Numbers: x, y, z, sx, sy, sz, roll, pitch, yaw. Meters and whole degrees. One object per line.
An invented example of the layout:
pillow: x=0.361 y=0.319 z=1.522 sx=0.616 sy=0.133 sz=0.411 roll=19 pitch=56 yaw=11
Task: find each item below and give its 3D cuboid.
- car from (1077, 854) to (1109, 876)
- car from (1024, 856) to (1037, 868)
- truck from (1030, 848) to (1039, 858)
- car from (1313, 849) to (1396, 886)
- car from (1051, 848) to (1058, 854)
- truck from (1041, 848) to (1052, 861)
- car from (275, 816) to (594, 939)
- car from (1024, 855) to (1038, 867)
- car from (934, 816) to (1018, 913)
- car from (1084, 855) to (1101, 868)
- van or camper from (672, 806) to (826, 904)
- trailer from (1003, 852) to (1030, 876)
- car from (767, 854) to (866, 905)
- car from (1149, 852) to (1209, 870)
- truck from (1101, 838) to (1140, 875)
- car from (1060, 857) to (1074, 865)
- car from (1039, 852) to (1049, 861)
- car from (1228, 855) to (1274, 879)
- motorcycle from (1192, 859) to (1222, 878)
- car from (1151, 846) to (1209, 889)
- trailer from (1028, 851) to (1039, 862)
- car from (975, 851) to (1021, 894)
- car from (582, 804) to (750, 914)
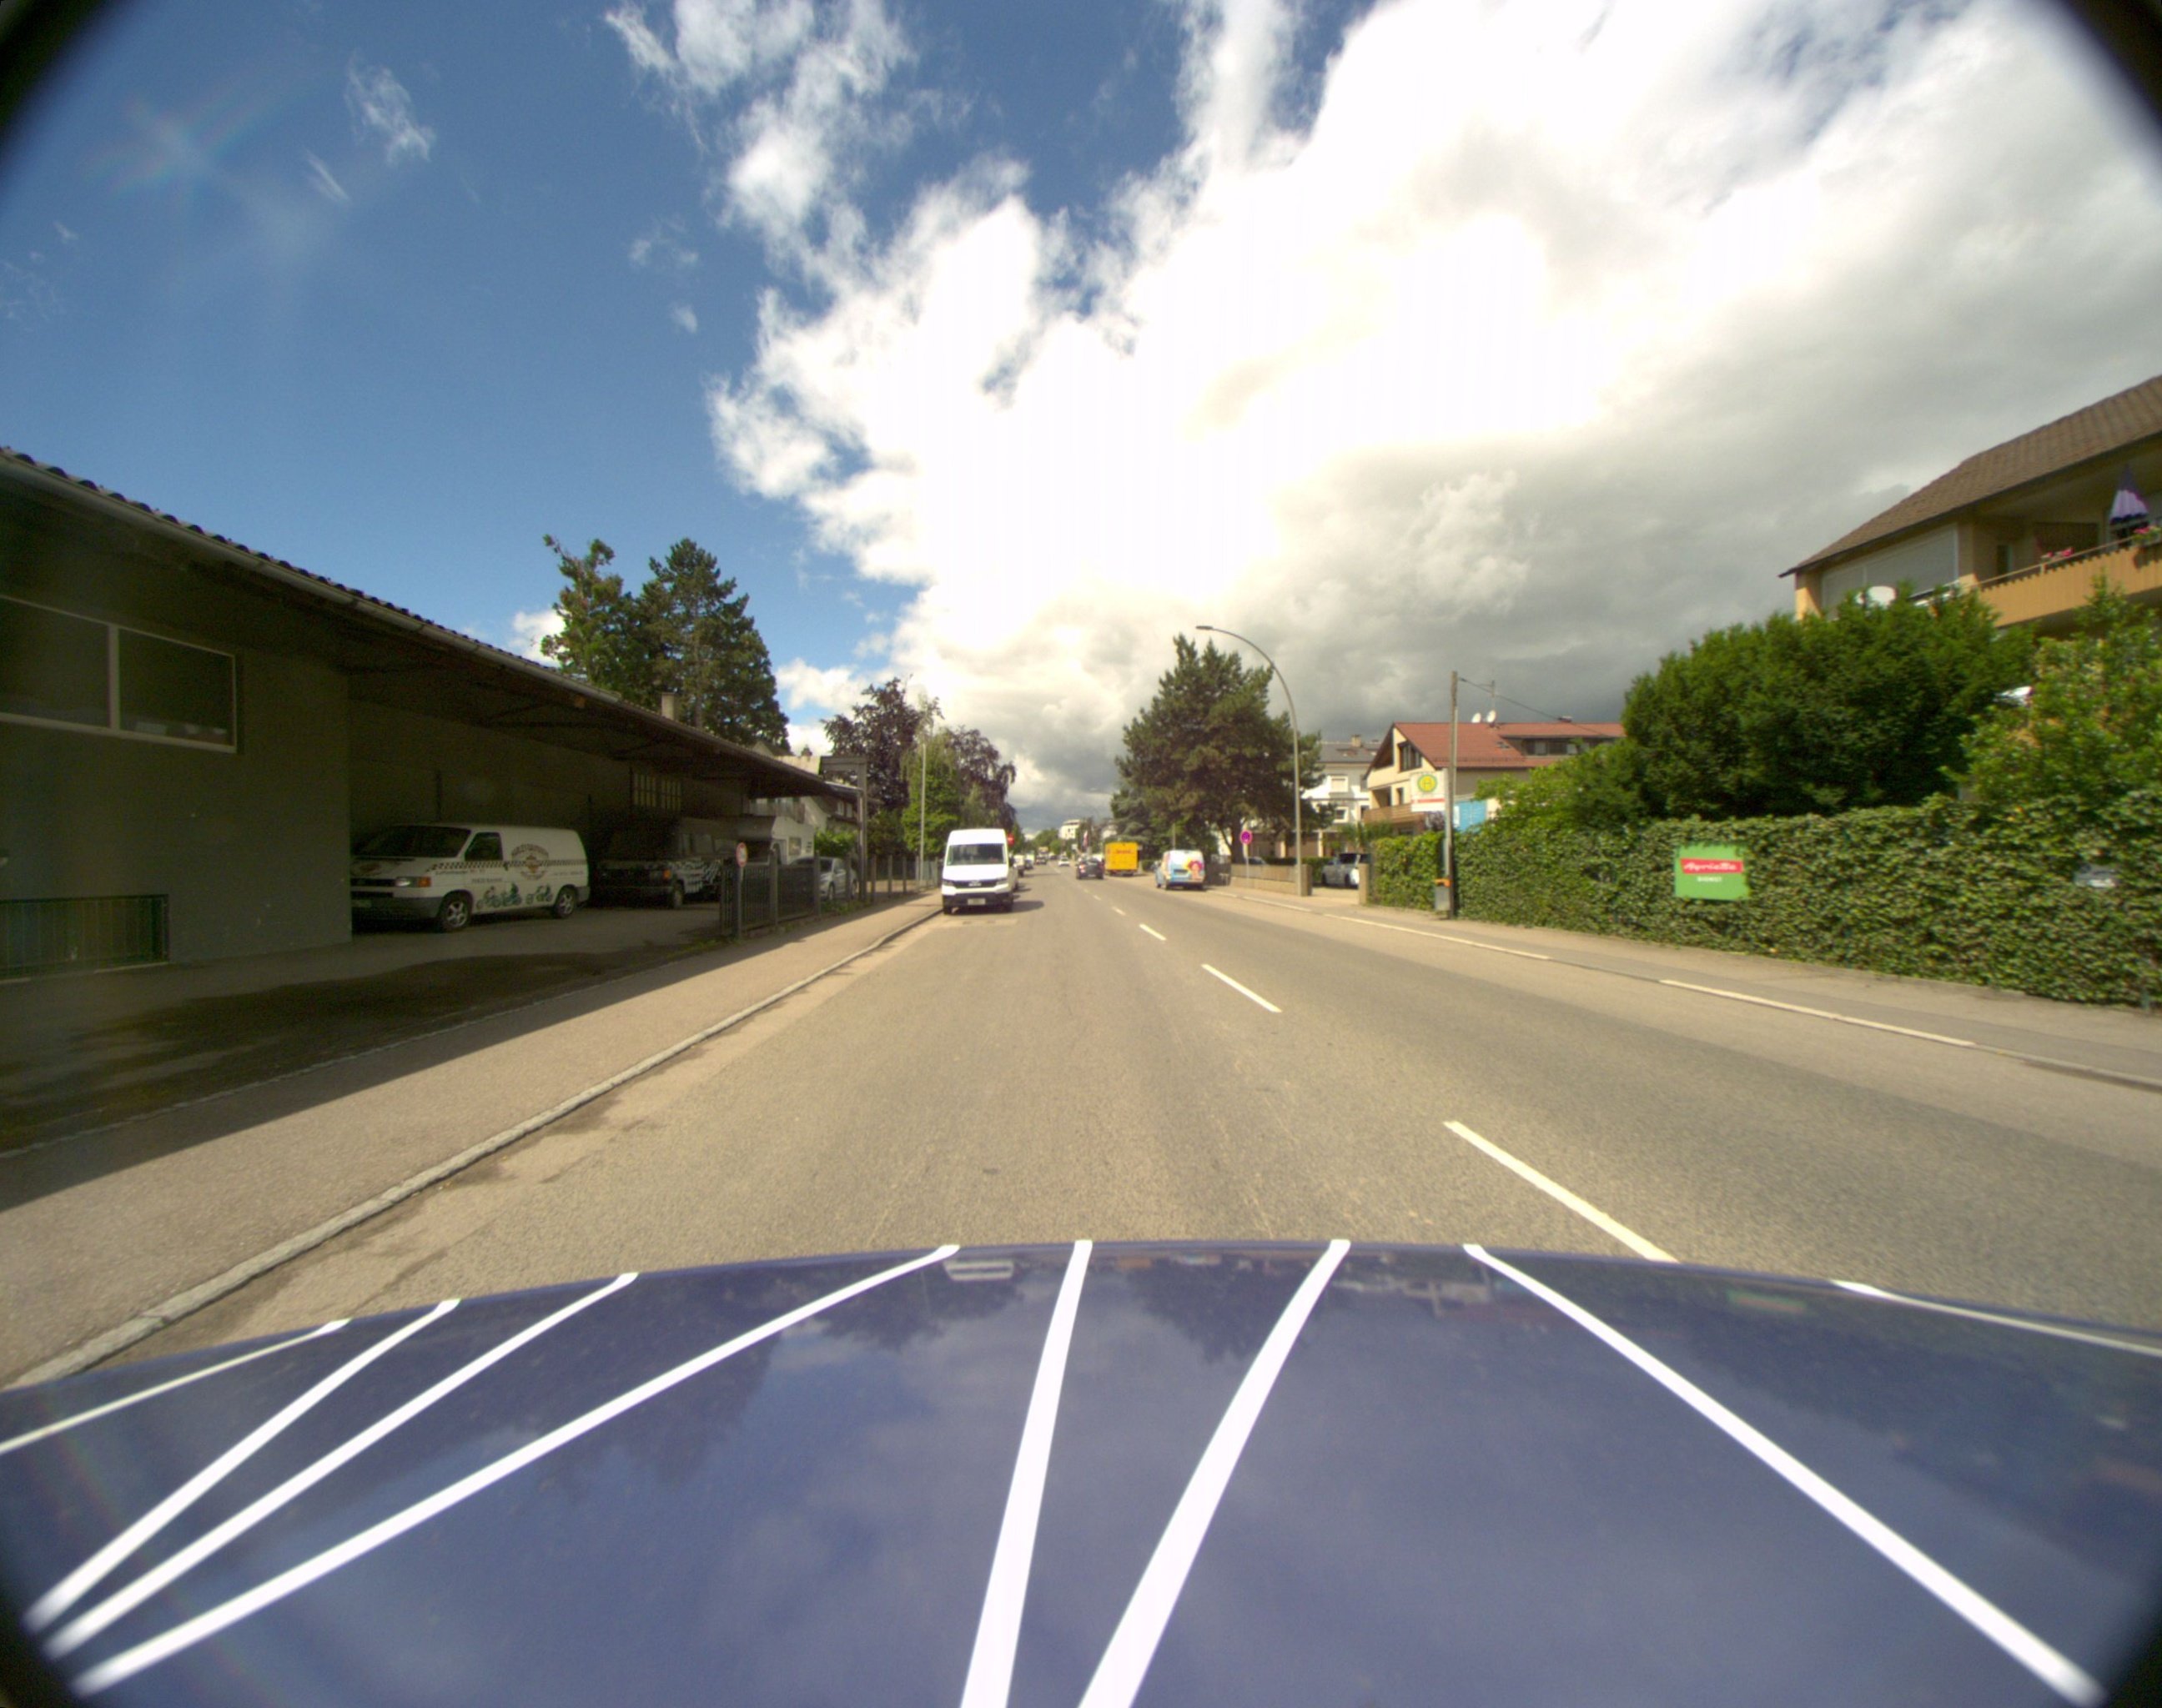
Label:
car: x=0.796 y=0.725 z=53.228 sx=1.906 sy=1.509 sz=4.317 roll=0 pitch=0 yaw=-4
car: x=-7.395 y=1.117 z=111.180 sx=1.812 sy=1.566 sz=4.187 roll=-3 pitch=0 yaw=-3
truck: x=-12.736 y=-0.262 z=209.146 sx=2.411 sy=2.722 sz=6.638 roll=-3 pitch=1 yaw=-3
car: x=14.144 y=0.660 z=39.686 sx=2.085 sy=1.820 sz=5.477 roll=0 pitch=0 yaw=-3
car: x=-7.668 y=-0.767 z=221.647 sx=1.860 sy=1.685 sz=3.998 roll=-1 pitch=0 yaw=-4
truck: x=-9.489 y=0.040 z=209.894 sx=2.881 sy=3.290 sz=8.604 roll=-3 pitch=1 yaw=-3
car: x=-11.592 y=0.388 z=14.239 sx=1.999 sy=1.898 sz=4.852 roll=-1 pitch=-1 yaw=-3
car: x=-7.646 y=1.082 z=115.962 sx=1.836 sy=1.608 sz=3.999 roll=-4 pitch=0 yaw=-2
car: x=-3.172 y=0.287 z=24.275 sx=2.221 sy=2.673 sz=6.655 roll=0 pitch=0 yaw=-4
car: x=1.477 y=0.952 z=98.196 sx=1.809 sy=1.666 sz=4.126 roll=1 pitch=0 yaw=-3
van or camper: x=-11.492 y=0.023 z=27.135 sx=2.889 sy=3.043 sz=6.910 roll=-1 pitch=0 yaw=-4
trailer: x=-5.332 y=0.807 z=63.168 sx=1.999 sy=1.812 sz=4.763 roll=-2 pitch=0 yaw=-3
car: x=-8.598 y=0.793 z=25.180 sx=1.769 sy=1.480 sz=4.925 roll=-1 pitch=-1 yaw=-3
car: x=8.860 y=0.626 z=68.958 sx=5.022 sy=1.543 sz=1.971 roll=-1 pitch=1 yaw=-5
truck: x=3.340 y=0.190 z=66.329 sx=2.330 sy=2.985 sz=7.815 roll=2 pitch=0 yaw=-4
car: x=-2.370 y=1.153 z=128.439 sx=1.988 sy=1.412 sz=3.998 roll=0 pitch=0 yaw=-5
car: x=-7.475 y=0.535 z=153.919 sx=1.999 sy=1.802 sz=3.999 roll=-1 pitch=0 yaw=-3
car: x=11.271 y=0.846 z=50.705 sx=1.772 sy=1.534 sz=4.085 roll=0 pitch=0 yaw=-7
motorcycle: x=8.199 y=0.936 z=49.403 sx=1.873 sy=1.158 sz=0.825 roll=0 pitch=0 yaw=13
car: x=4.665 y=0.626 z=36.578 sx=1.838 sy=1.842 sz=4.894 roll=3 pitch=-1 yaw=-3
trailer: x=-9.861 y=0.461 z=157.618 sx=2.045 sy=2.214 sz=5.077 roll=0 pitch=0 yaw=-2
car: x=-3.972 y=0.827 z=37.085 sx=1.910 sy=1.874 sz=5.387 roll=-2 pitch=0 yaw=-4
car: x=-11.307 y=0.168 z=21.255 sx=2.023 sy=2.665 sz=5.496 roll=-1 pitch=-1 yaw=-4
